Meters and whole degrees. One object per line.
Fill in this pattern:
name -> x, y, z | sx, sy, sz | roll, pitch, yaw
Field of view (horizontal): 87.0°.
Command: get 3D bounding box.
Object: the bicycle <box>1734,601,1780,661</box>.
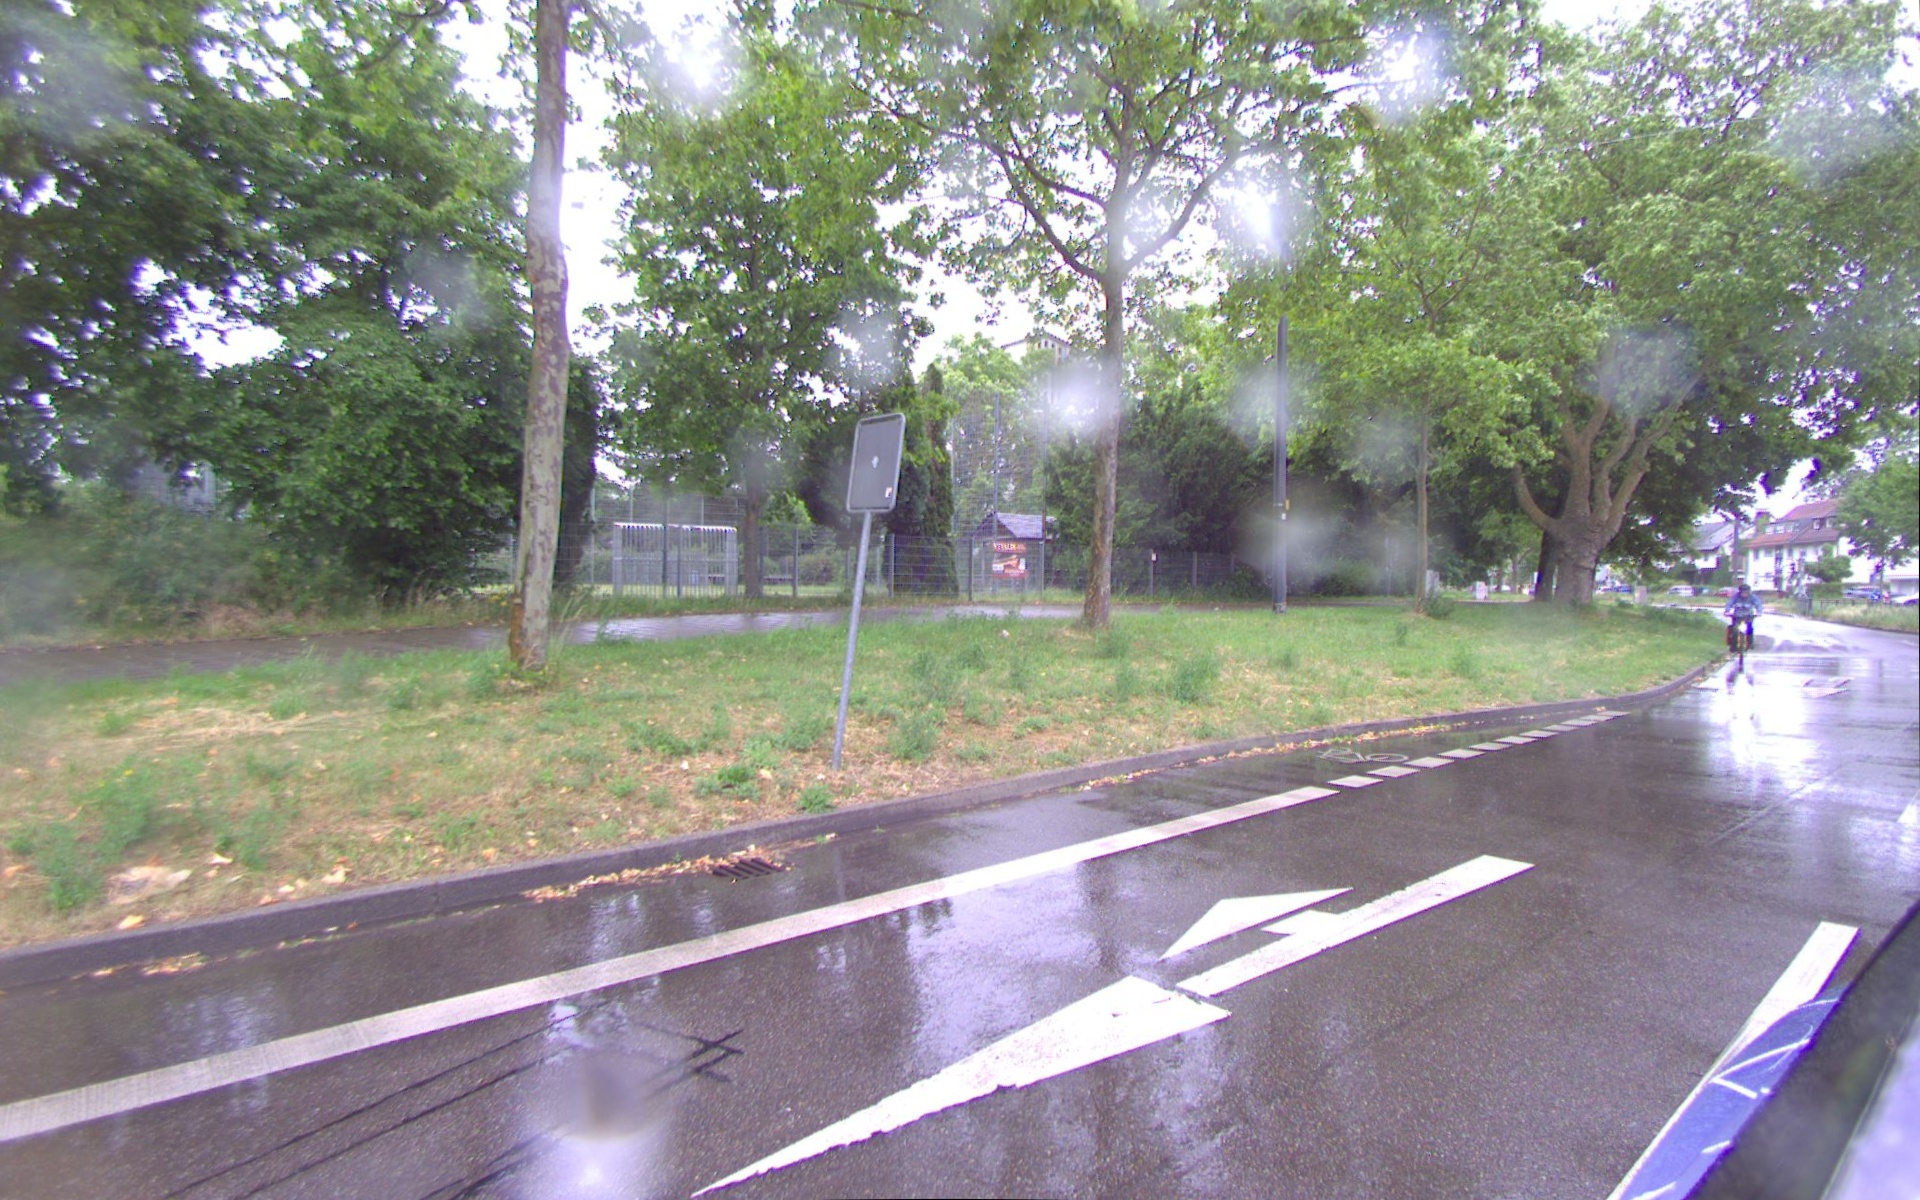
bicycle -> 16.268, 0.598, 20.638 | 0.690, 1.131, 1.858 | 0, 1, 40

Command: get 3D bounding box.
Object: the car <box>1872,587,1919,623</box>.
car -> 39.344, 0.179, 40.581 | 4.025, 1.438, 1.652 | 0, 0, 39

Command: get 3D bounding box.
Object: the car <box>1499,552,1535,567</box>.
car -> 73.881, -5.326, 134.260 | 3.958, 1.850, 1.983 | 0, 0, 25

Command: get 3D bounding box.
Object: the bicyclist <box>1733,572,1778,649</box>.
bicyclist -> 16.239, 0.202, 20.654 | 0.690, 1.525, 0.832 | 0, 1, 40
